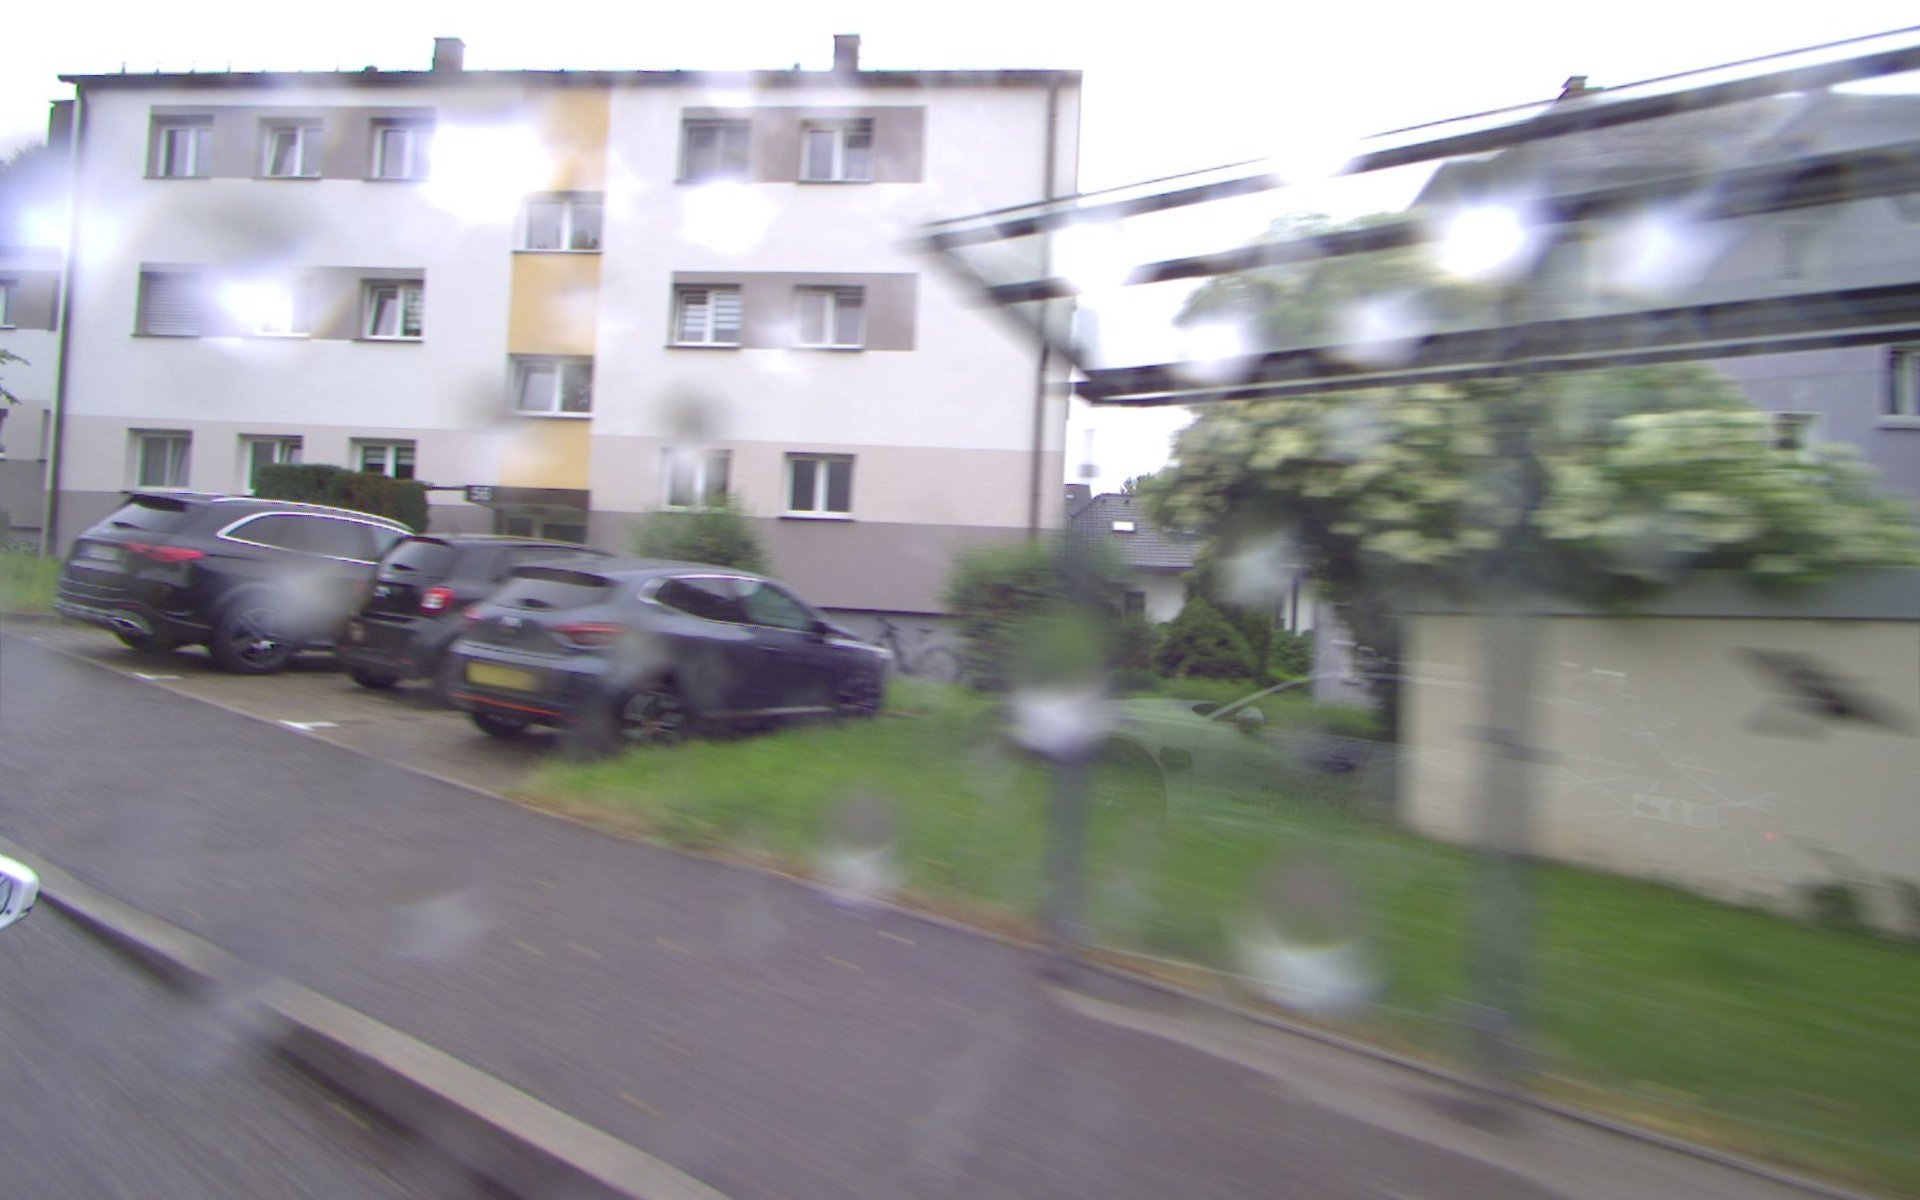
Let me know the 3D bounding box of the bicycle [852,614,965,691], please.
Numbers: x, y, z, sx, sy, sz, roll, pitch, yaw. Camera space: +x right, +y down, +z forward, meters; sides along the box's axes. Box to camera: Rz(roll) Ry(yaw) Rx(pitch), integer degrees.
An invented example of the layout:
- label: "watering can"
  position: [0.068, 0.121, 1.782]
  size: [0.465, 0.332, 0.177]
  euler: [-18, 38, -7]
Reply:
- label: "bicycle"
  position: [-0.816, 0.838, 16.142]
  size: [1.650, 1.002, 0.573]
  euler: [7, 0, 6]

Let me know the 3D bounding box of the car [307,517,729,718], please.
- label: "car"
  position: [-4.175, 0.199, 10.000]
  size: [1.639, 1.515, 3.443]
  euler: [7, 1, 30]

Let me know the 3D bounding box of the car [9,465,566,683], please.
- label: "car"
  position: [-6.668, -0.164, 10.657]
  size: [1.822, 1.681, 4.536]
  euler: [7, 1, 24]

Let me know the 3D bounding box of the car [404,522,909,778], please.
- label: "car"
  position: [-2.203, 0.375, 8.282]
  size: [1.695, 1.477, 3.748]
  euler: [7, 1, 29]
